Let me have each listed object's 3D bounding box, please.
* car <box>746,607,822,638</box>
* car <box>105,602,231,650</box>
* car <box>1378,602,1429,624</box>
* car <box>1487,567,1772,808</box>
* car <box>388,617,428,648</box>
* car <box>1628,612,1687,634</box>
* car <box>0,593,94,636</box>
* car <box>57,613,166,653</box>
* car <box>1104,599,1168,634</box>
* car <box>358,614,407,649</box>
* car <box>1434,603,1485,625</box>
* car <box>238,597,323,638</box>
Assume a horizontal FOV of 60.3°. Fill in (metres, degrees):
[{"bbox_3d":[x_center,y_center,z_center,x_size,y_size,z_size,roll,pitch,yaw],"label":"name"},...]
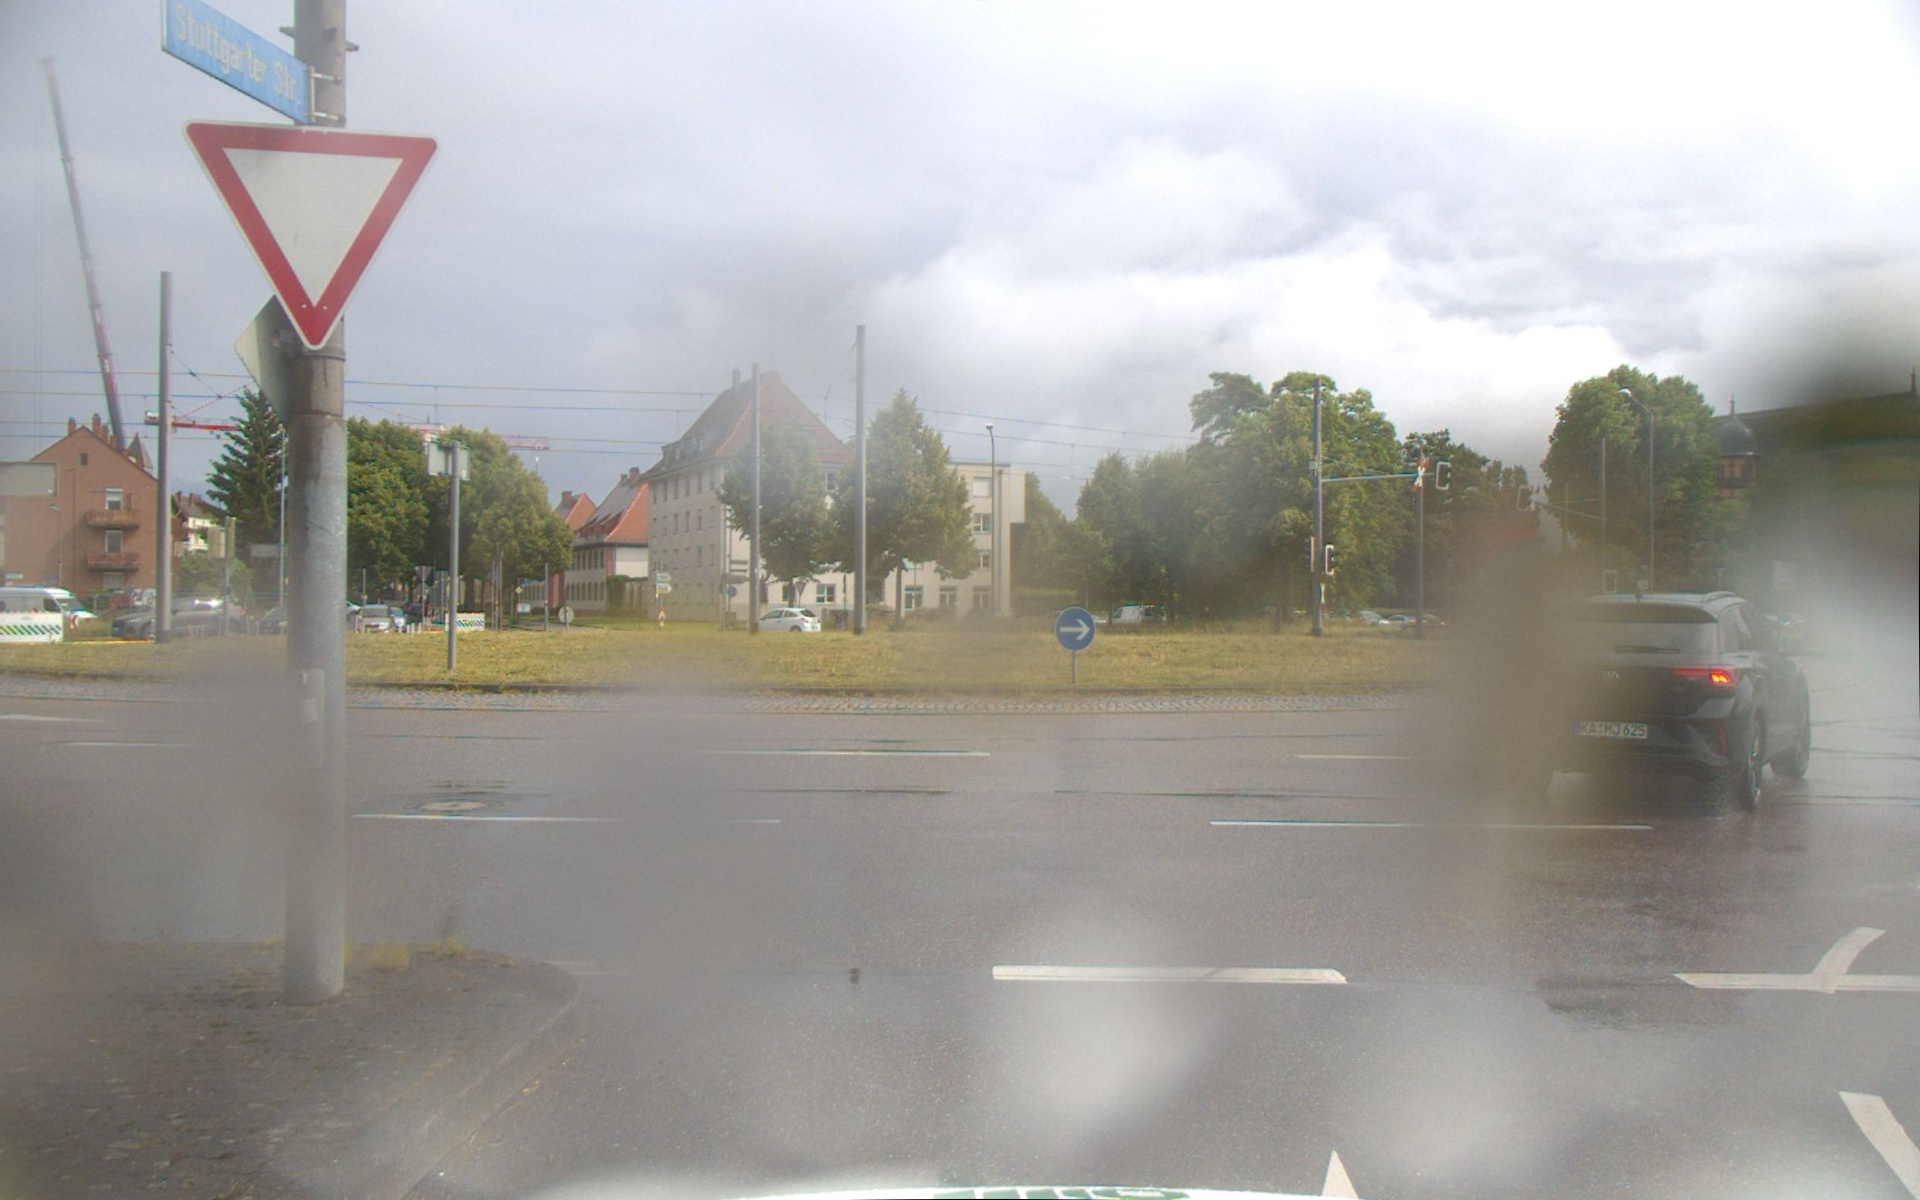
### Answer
[{"bbox_3d":[-8.640,1.096,81.244,3.419,1.479,1.549,0,0,24],"label":"car"},{"bbox_3d":[-27.591,0.868,57.694,1.545,1.588,3.659,1,0,40],"label":"car"},{"bbox_3d":[30.363,0.910,113.275,1.616,1.487,3.588,0,0,-21],"label":"car"},{"bbox_3d":[5.540,0.577,13.509,1.860,1.646,3.997,0,1,25],"label":"car"},{"bbox_3d":[-30.008,1.761,89.981,1.566,1.588,3.540,0,0,-11],"label":"car"},{"bbox_3d":[52.104,1.723,123.639,1.820,1.587,3.949,0,-1,-24],"label":"car"},{"bbox_3d":[-50.463,0.746,89.600,6.113,2.121,2.044,2,-1,5],"label":"car"},{"bbox_3d":[-38.364,1.461,74.885,1.956,1.713,3.994,0,0,29],"label":"car"},{"bbox_3d":[11.167,1.021,105.475,2.075,2.093,5.131,-1,1,-20],"label":"car"},{"bbox_3d":[-27.230,1.480,78.101,1.516,1.588,3.493,1,0,-9],"label":"car"},{"bbox_3d":[34.837,0.957,115.473,1.619,1.537,3.631,0,0,-18],"label":"car"},{"bbox_3d":[-27.720,0.676,67.590,1.755,1.612,4.001,1,0,1],"label":"car"}]
